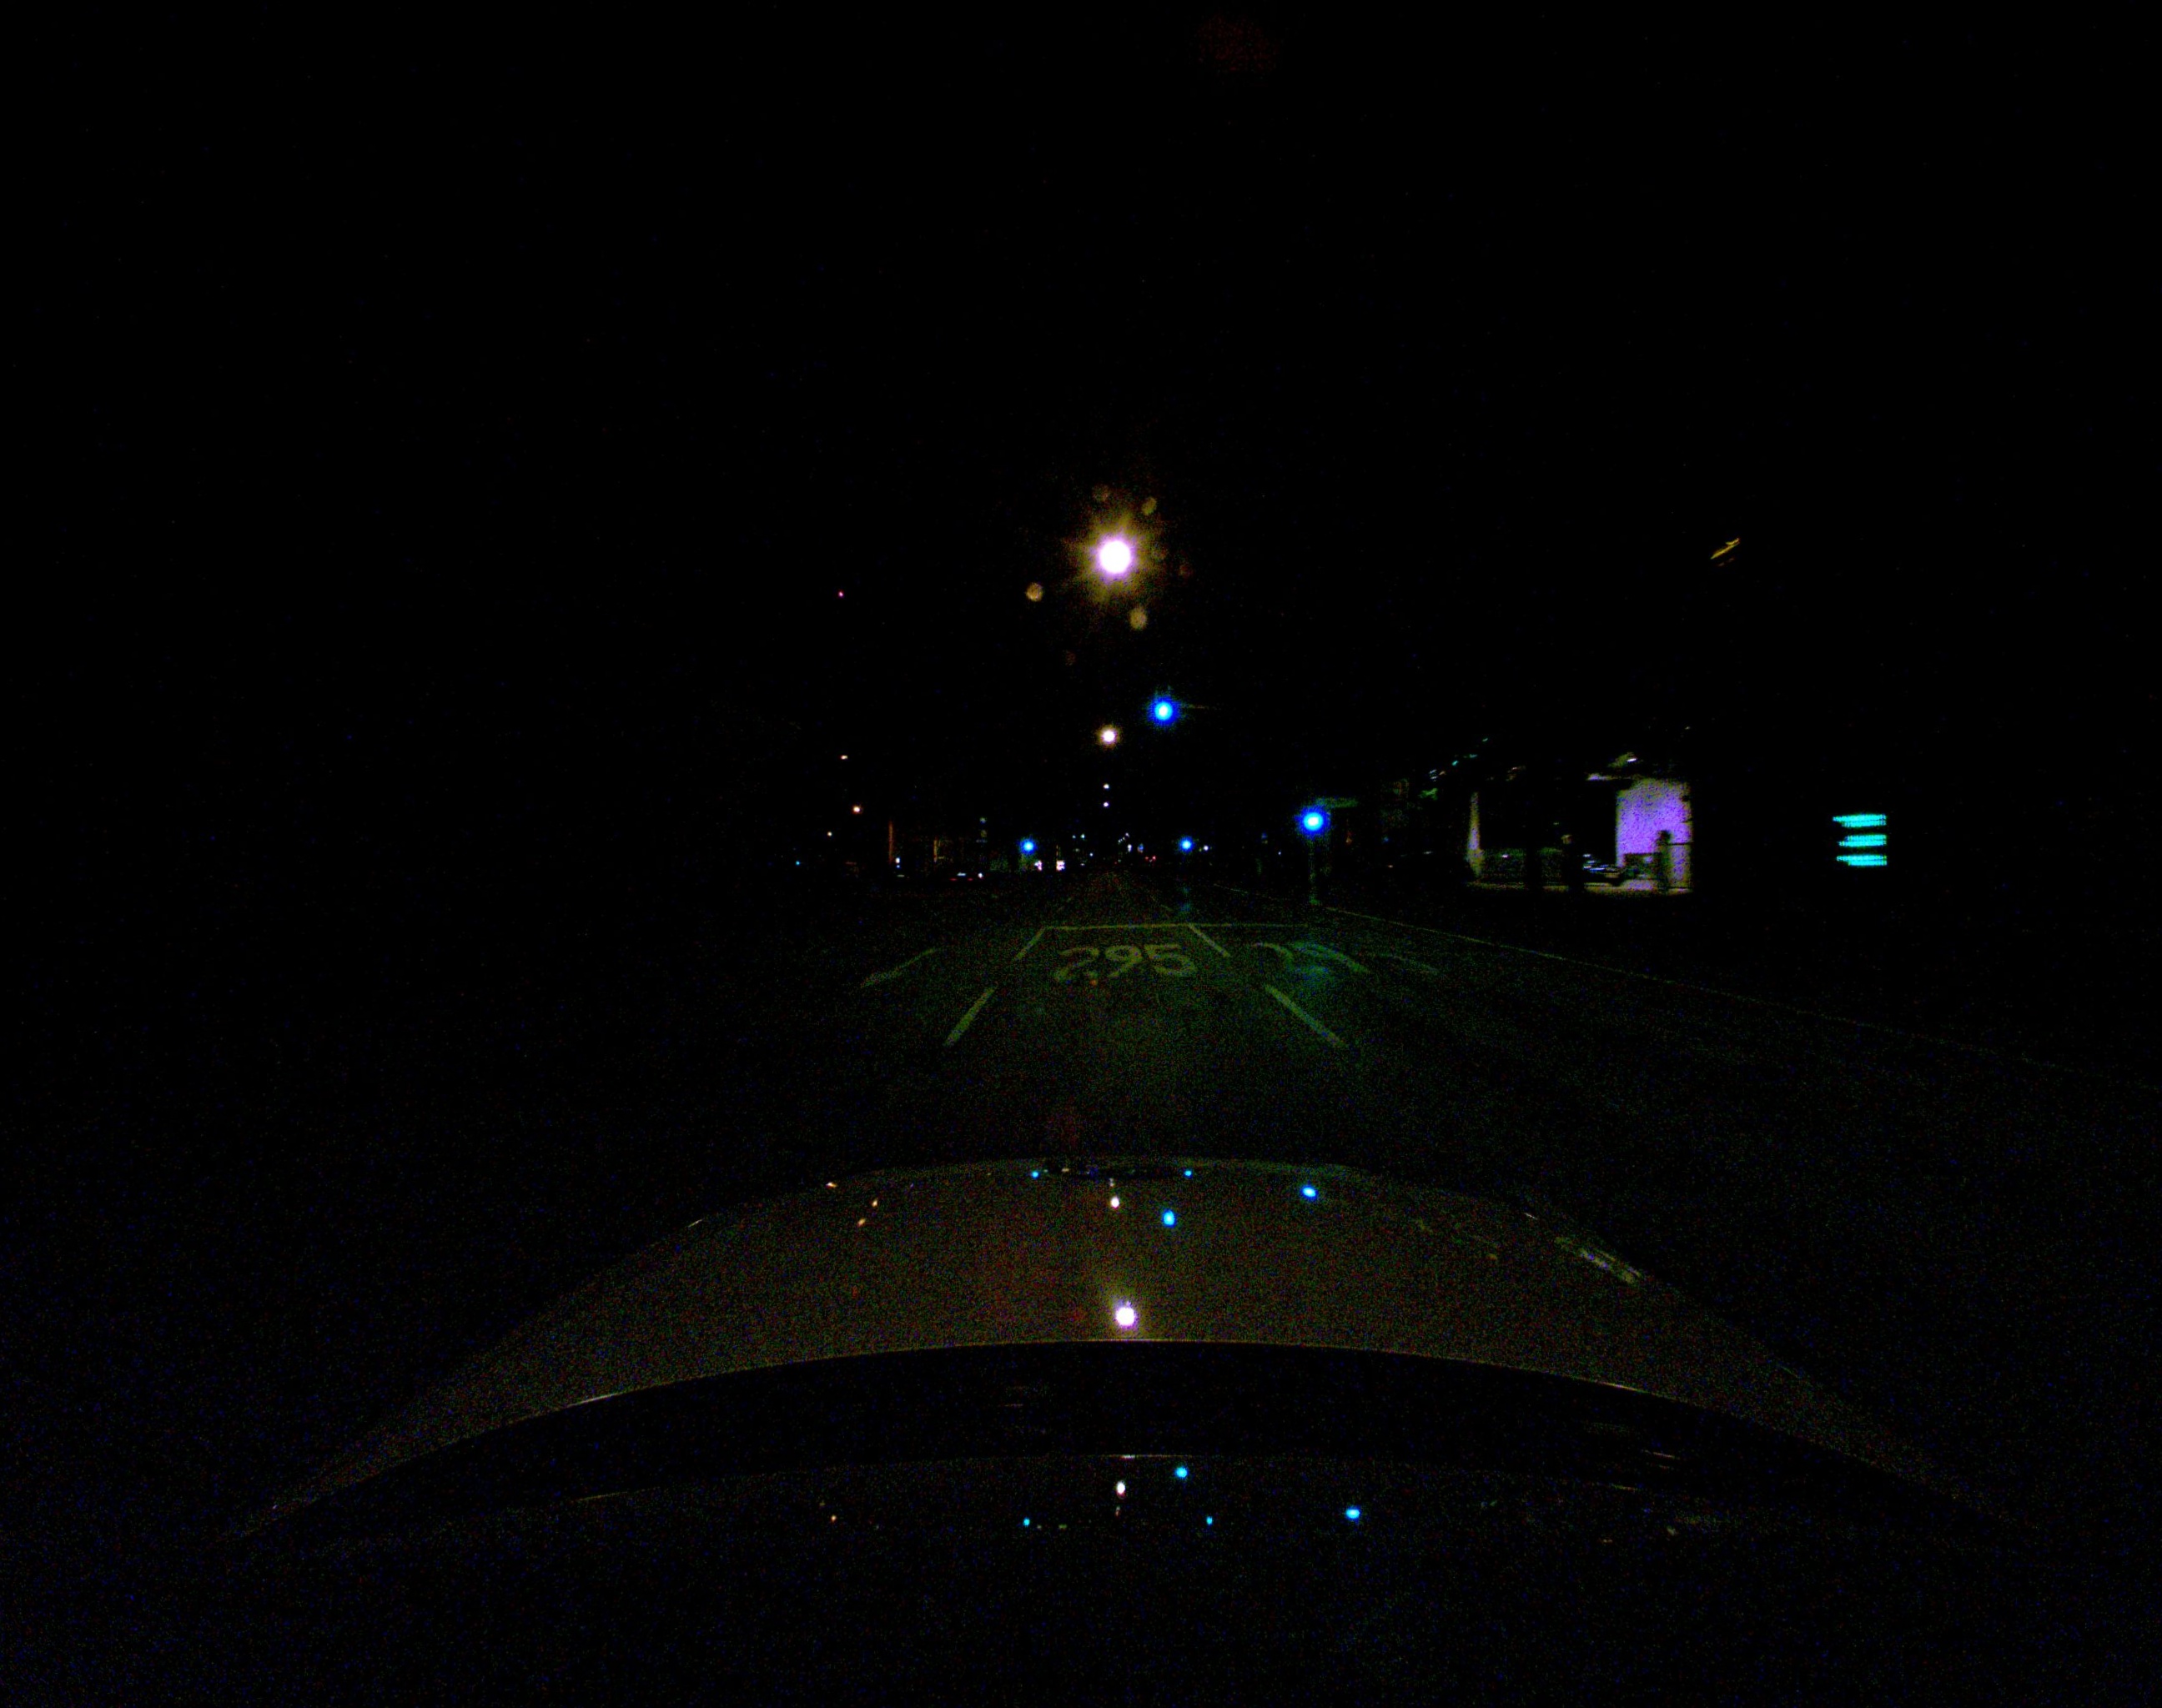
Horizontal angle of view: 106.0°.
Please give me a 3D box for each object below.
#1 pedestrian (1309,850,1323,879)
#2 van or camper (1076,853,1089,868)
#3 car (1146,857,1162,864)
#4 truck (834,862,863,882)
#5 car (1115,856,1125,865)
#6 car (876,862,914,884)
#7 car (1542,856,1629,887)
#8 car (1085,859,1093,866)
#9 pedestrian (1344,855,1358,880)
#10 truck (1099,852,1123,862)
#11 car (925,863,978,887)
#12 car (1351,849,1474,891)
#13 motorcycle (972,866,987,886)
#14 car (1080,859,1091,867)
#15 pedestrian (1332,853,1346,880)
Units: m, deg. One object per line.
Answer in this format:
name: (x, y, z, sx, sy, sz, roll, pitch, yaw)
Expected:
pedestrian: (14.645, 0.660, 50.686, 0.619, 1.811, 0.759, -1, -1, 2)
van or camper: (0.285, 1.199, 149.089, 2.150, 2.535, 6.227, -4, -1, 1)
car: (13.842, 1.195, 154.420, 1.647, 1.342, 3.647, -2, -1, 28)
truck: (-22.077, 1.685, 77.149, 1.900, 1.807, 4.077, -1, -1, -26)
car: (7.592, 1.273, 159.327, 1.876, 1.603, 4.111, -3, -1, 4)
car: (-14.413, 1.460, 63.062, 1.924, 1.644, 4.075, 2, -2, -27)
car: (20.654, 0.714, 33.507, 1.452, 1.168, 3.540, -1, -1, 1)
car: (1.849, 1.974, 188.174, 1.671, 1.566, 4.106, -2, -1, 1)
pedestrian: (16.338, 0.810, 49.286, 0.570, 1.533, 0.634, -1, -1, 2)
truck: (8.678, 0.896, 236.972, 6.757, 2.844, 1.999, -1, 0, -2)
car: (-8.659, 1.406, 54.130, 1.898, 1.424, 4.684, -2, -1, -30)
car: (12.904, 0.623, 31.882, 4.067, 1.454, 1.787, -2, -1, 0)
motorcycle: (-6.336, 1.370, 50.761, 0.573, 1.180, 2.021, -1, 0, -15)
car: (0.848, 1.789, 159.970, 1.836, 1.507, 4.733, -2, -1, -5)
pedestrian: (15.917, 0.763, 50.207, 0.619, 1.639, 0.679, -1, -1, 2)
